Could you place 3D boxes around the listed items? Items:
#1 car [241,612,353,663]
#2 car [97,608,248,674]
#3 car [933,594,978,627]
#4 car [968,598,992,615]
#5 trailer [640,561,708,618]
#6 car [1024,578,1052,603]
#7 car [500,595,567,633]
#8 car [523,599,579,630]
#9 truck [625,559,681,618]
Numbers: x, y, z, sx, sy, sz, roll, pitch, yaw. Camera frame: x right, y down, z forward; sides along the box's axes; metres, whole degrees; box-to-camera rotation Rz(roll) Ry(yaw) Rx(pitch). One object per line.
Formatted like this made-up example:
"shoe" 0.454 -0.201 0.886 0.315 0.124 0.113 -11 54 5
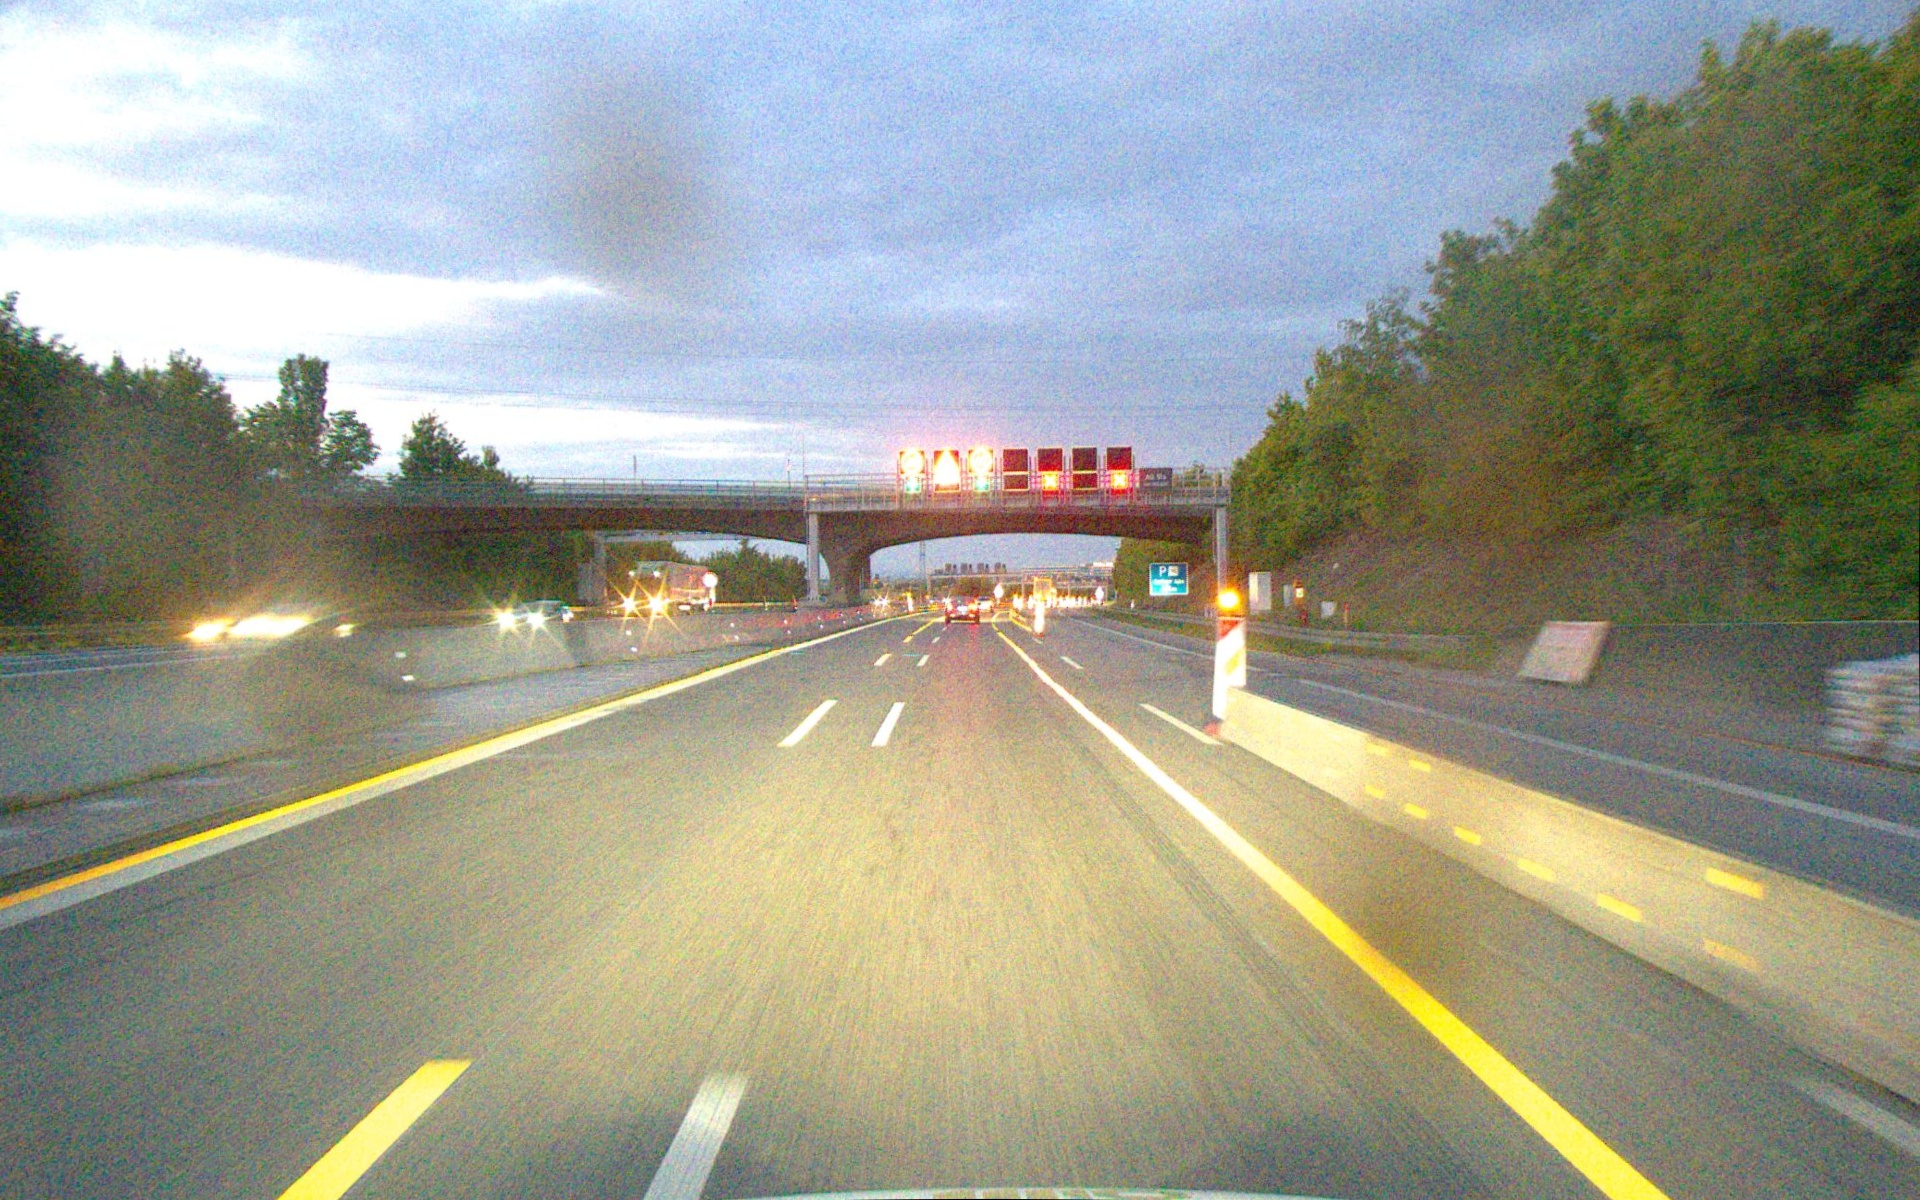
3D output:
"car" -23.065 1.274 57.769 1.701 1.666 5.171 1 0 1
"car" -21.460 1.072 45.314 1.767 1.666 4.751 1 0 1
"car" -0.264 0.564 88.613 2.220 1.650 3.998 2 0 -2
"car" 1.792 0.560 149.710 1.930 1.462 4.002 1 0 3
"trailer" -22.935 -0.781 133.539 2.721 4.279 12.405 1 0 2
"car" 11.145 -1.310 236.722 3.531 3.455 8.013 1 0 0
"car" -19.687 0.651 76.559 1.701 1.666 4.892 1 0 1
"car" -22.257 0.783 90.144 1.558 1.632 5.035 1 0 2
"truck" -23.286 -0.828 125.703 2.719 4.244 6.387 1 0 2
